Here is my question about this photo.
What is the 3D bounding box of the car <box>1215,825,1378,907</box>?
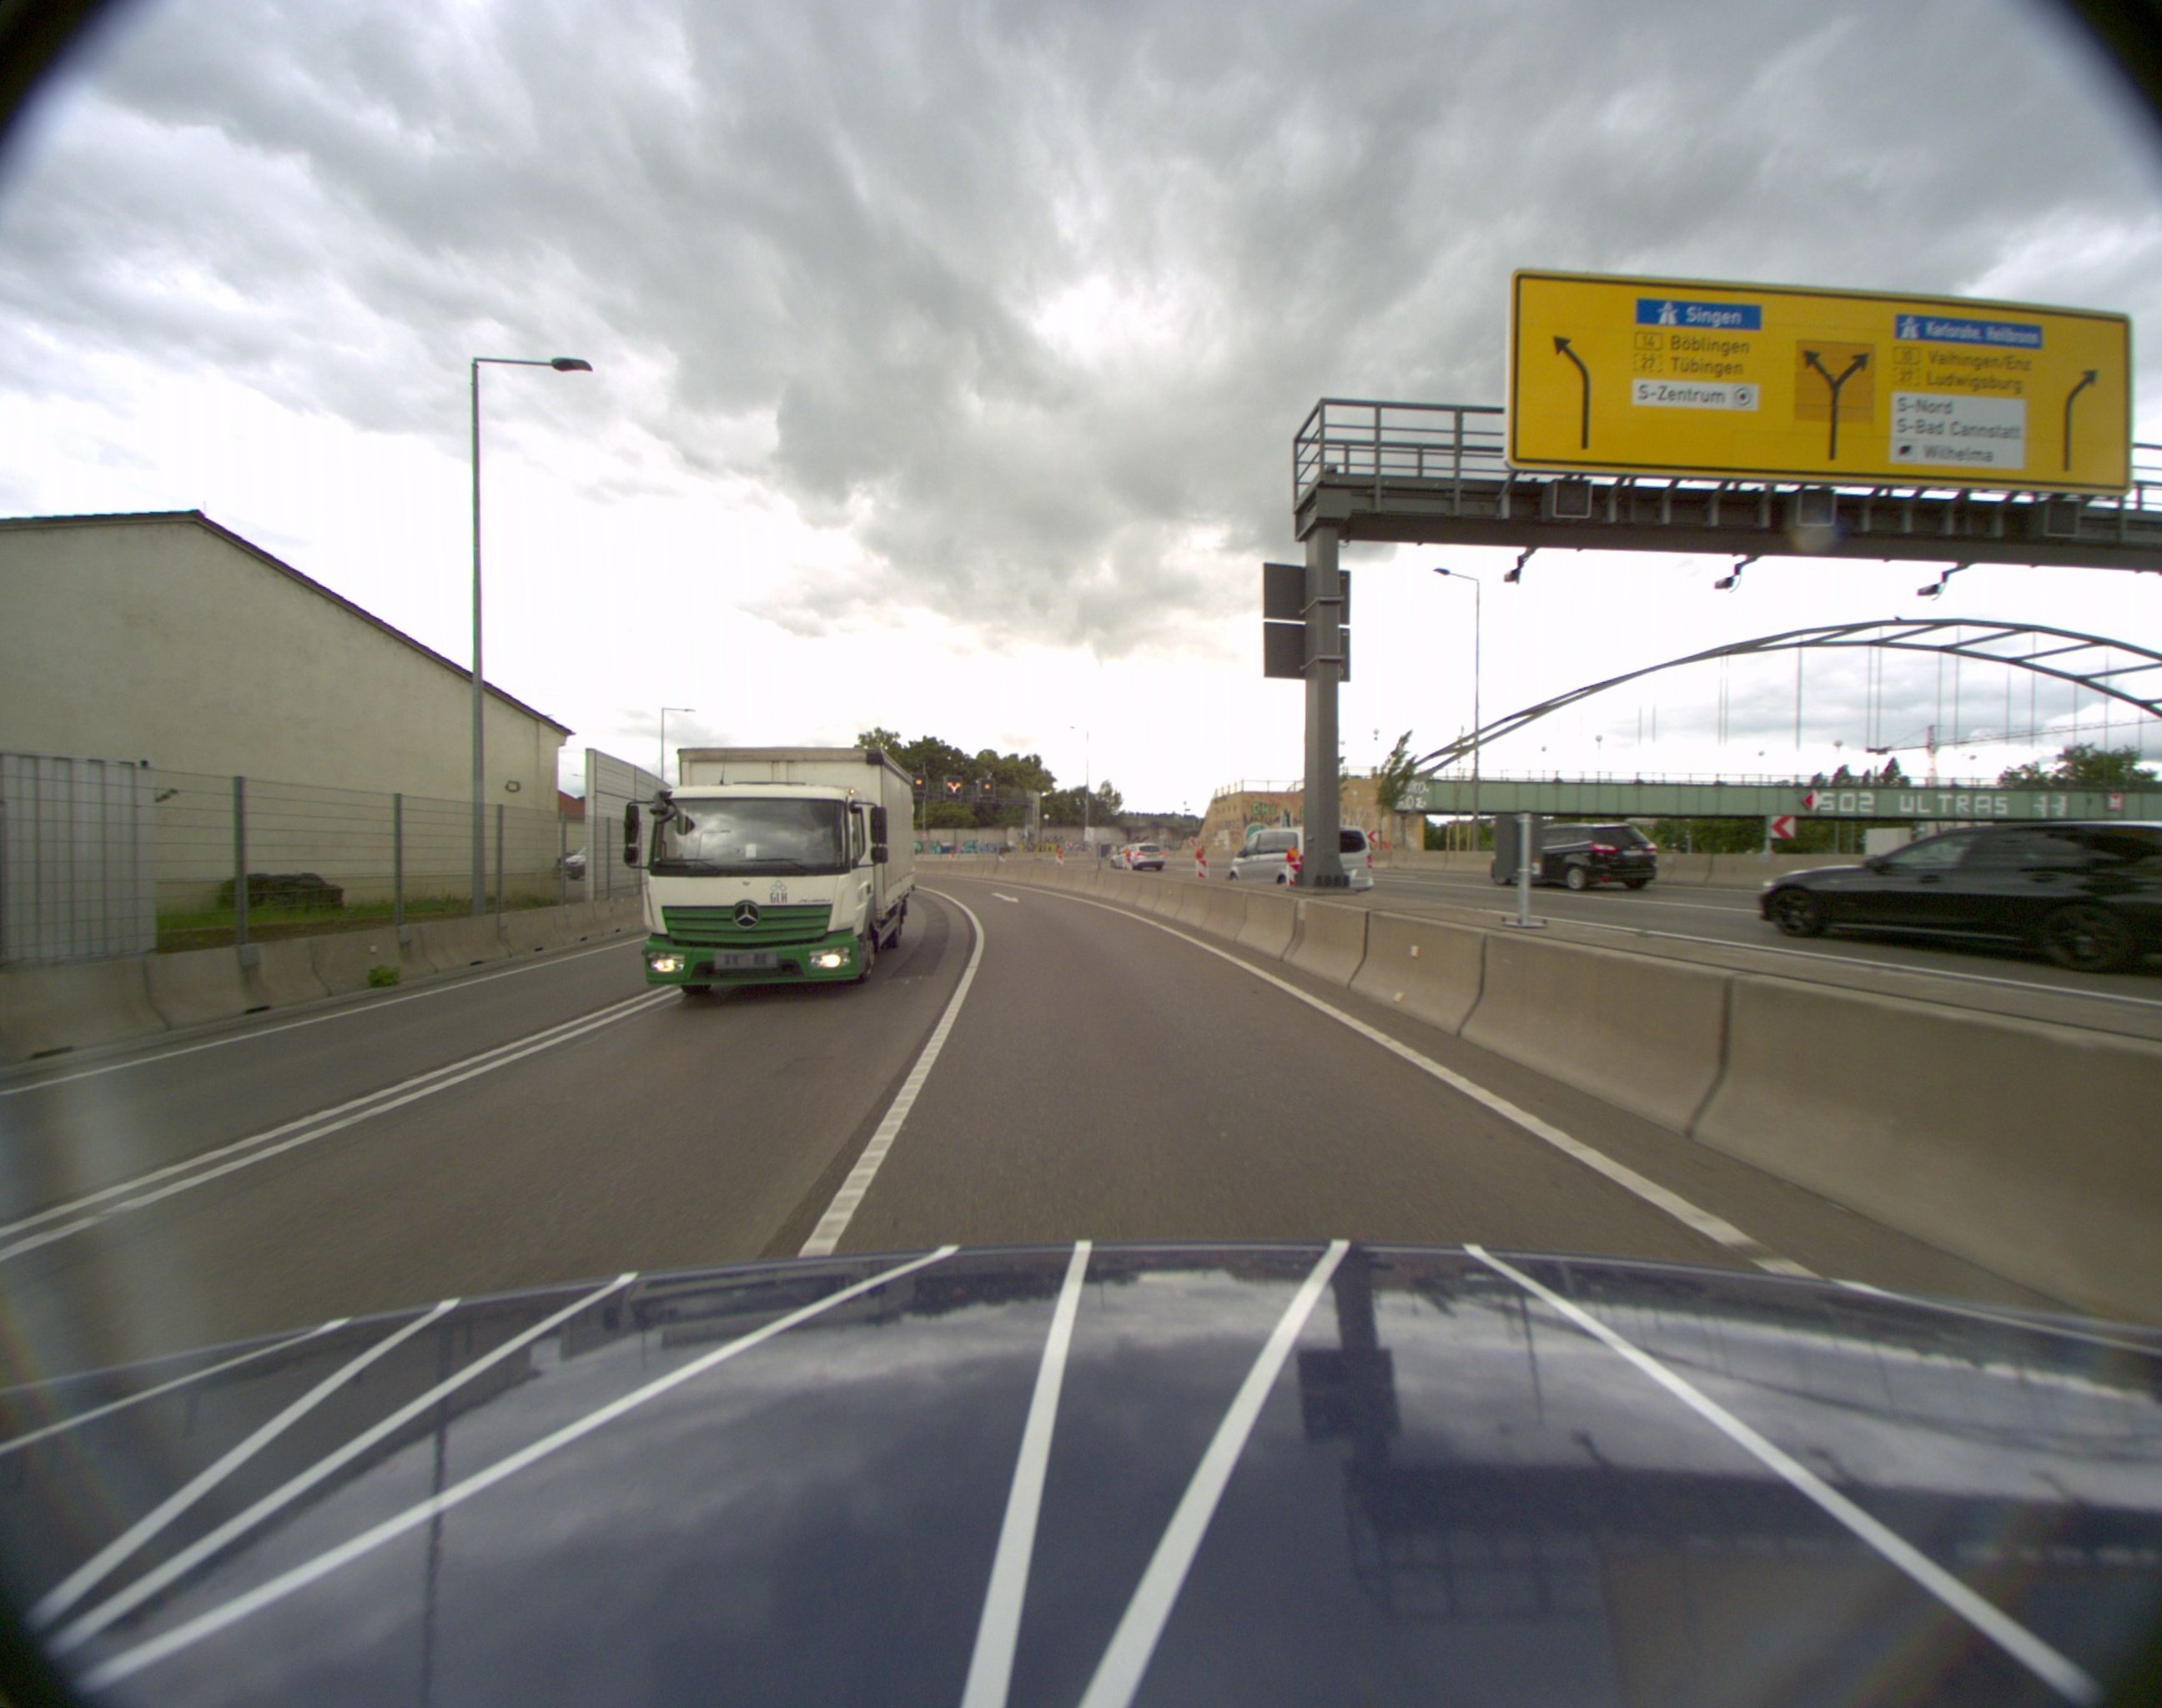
[{"bbox_3d":[5.416,0.235,20.112,1.957,1.796,5.787,-2,1,-8],"label":"car"}]

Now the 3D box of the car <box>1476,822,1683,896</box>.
[{"bbox_3d":[12.932,0.078,20.180,2.000,1.663,4.724,-2,1,-7],"label":"car"}]

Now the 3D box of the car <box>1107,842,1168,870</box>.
[{"bbox_3d":[3.059,0.095,42.187,1.801,1.413,4.642,-2,1,-16],"label":"car"}]

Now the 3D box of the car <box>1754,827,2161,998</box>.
[{"bbox_3d":[10.227,0.457,8.219,1.867,1.445,4.570,-1,1,1],"label":"car"}]

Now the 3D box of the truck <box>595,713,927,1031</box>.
[{"bbox_3d":[-4.102,0.148,11.748,2.638,3.220,7.410,-3,1,-7],"label":"truck"}]
